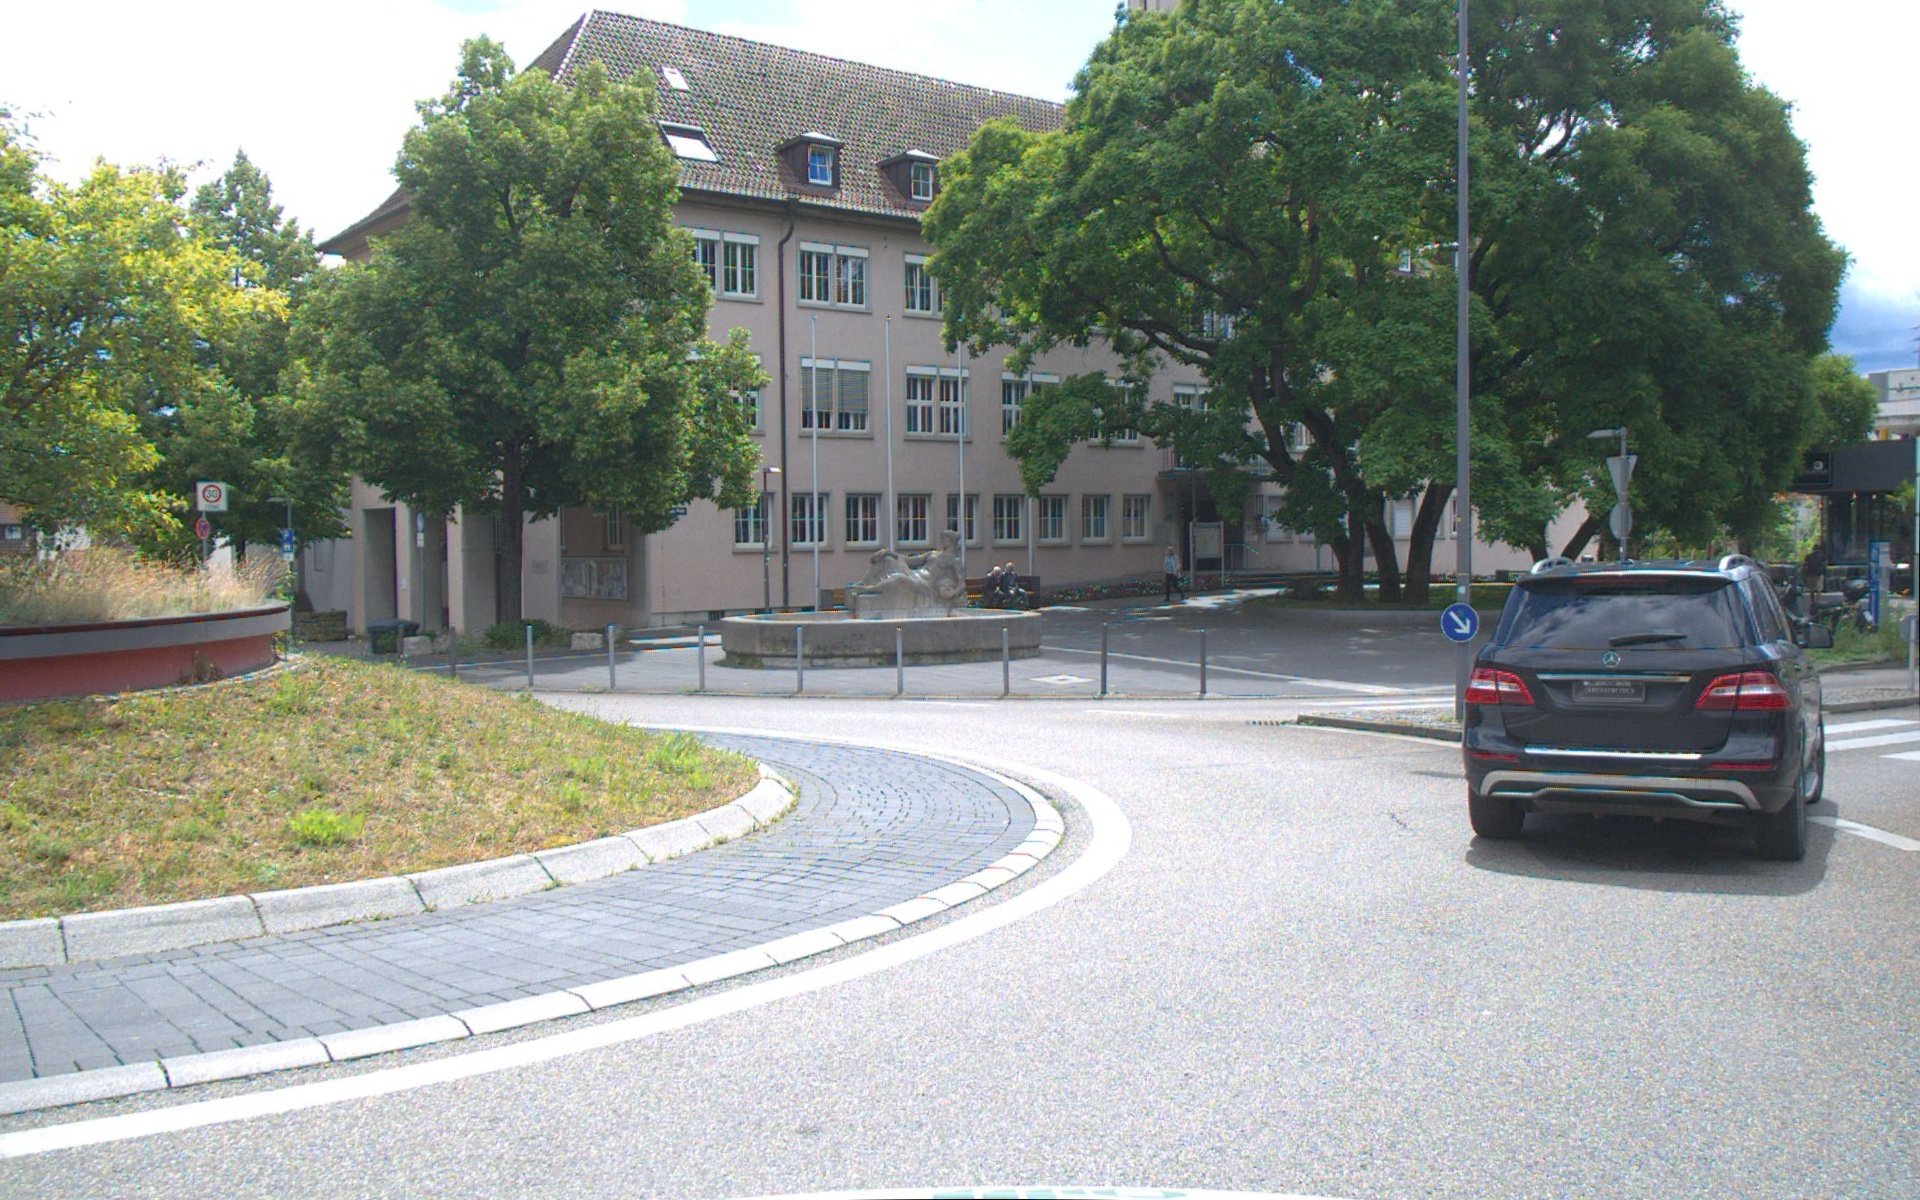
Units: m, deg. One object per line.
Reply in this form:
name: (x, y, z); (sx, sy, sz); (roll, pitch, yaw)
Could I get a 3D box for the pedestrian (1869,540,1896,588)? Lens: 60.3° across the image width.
pedestrian: (27.301, -1.051, 48.945); (0.573, 1.403, 0.612); (0, 1, 43)

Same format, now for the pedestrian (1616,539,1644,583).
pedestrian: (25.365, -1.482, 62.632); (0.629, 1.656, 0.779); (-1, 1, -35)

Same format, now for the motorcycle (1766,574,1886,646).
motorcycle: (17.098, 0.173, 32.704); (0.576, 1.311, 2.116); (-3, 4, -31)

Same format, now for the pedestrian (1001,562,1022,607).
pedestrian: (1.449, -0.443, 46.749); (0.476, 1.243, 0.581); (0, 0, 13)

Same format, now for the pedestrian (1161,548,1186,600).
pedestrian: (6.272, -0.770, 48.661); (0.683, 1.519, 0.815); (0, 0, 3)

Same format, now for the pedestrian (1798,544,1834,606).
pedestrian: (22.400, -0.648, 43.301); (0.603, 1.604, 0.581); (-1, 1, -11)

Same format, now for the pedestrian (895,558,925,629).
pedestrian: (-1.178, -0.155, 38.963); (0.564, 1.636, 0.435); (0, 4, -20)

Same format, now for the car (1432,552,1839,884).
car: (4.740, 0.597, 11.175); (1.989, 1.757, 4.425); (-1, 1, 30)

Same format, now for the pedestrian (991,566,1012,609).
pedestrian: (1.151, -0.349, 46.107); (0.476, 1.203, 0.581); (0, 0, 13)

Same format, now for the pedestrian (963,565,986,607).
pedestrian: (0.412, -0.391, 46.490); (0.476, 1.183, 0.581); (1, 0, 21)

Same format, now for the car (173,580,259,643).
car: (-19.492, 0.254, 43.239); (1.953, 1.557, 3.967); (-1, 1, -26)
